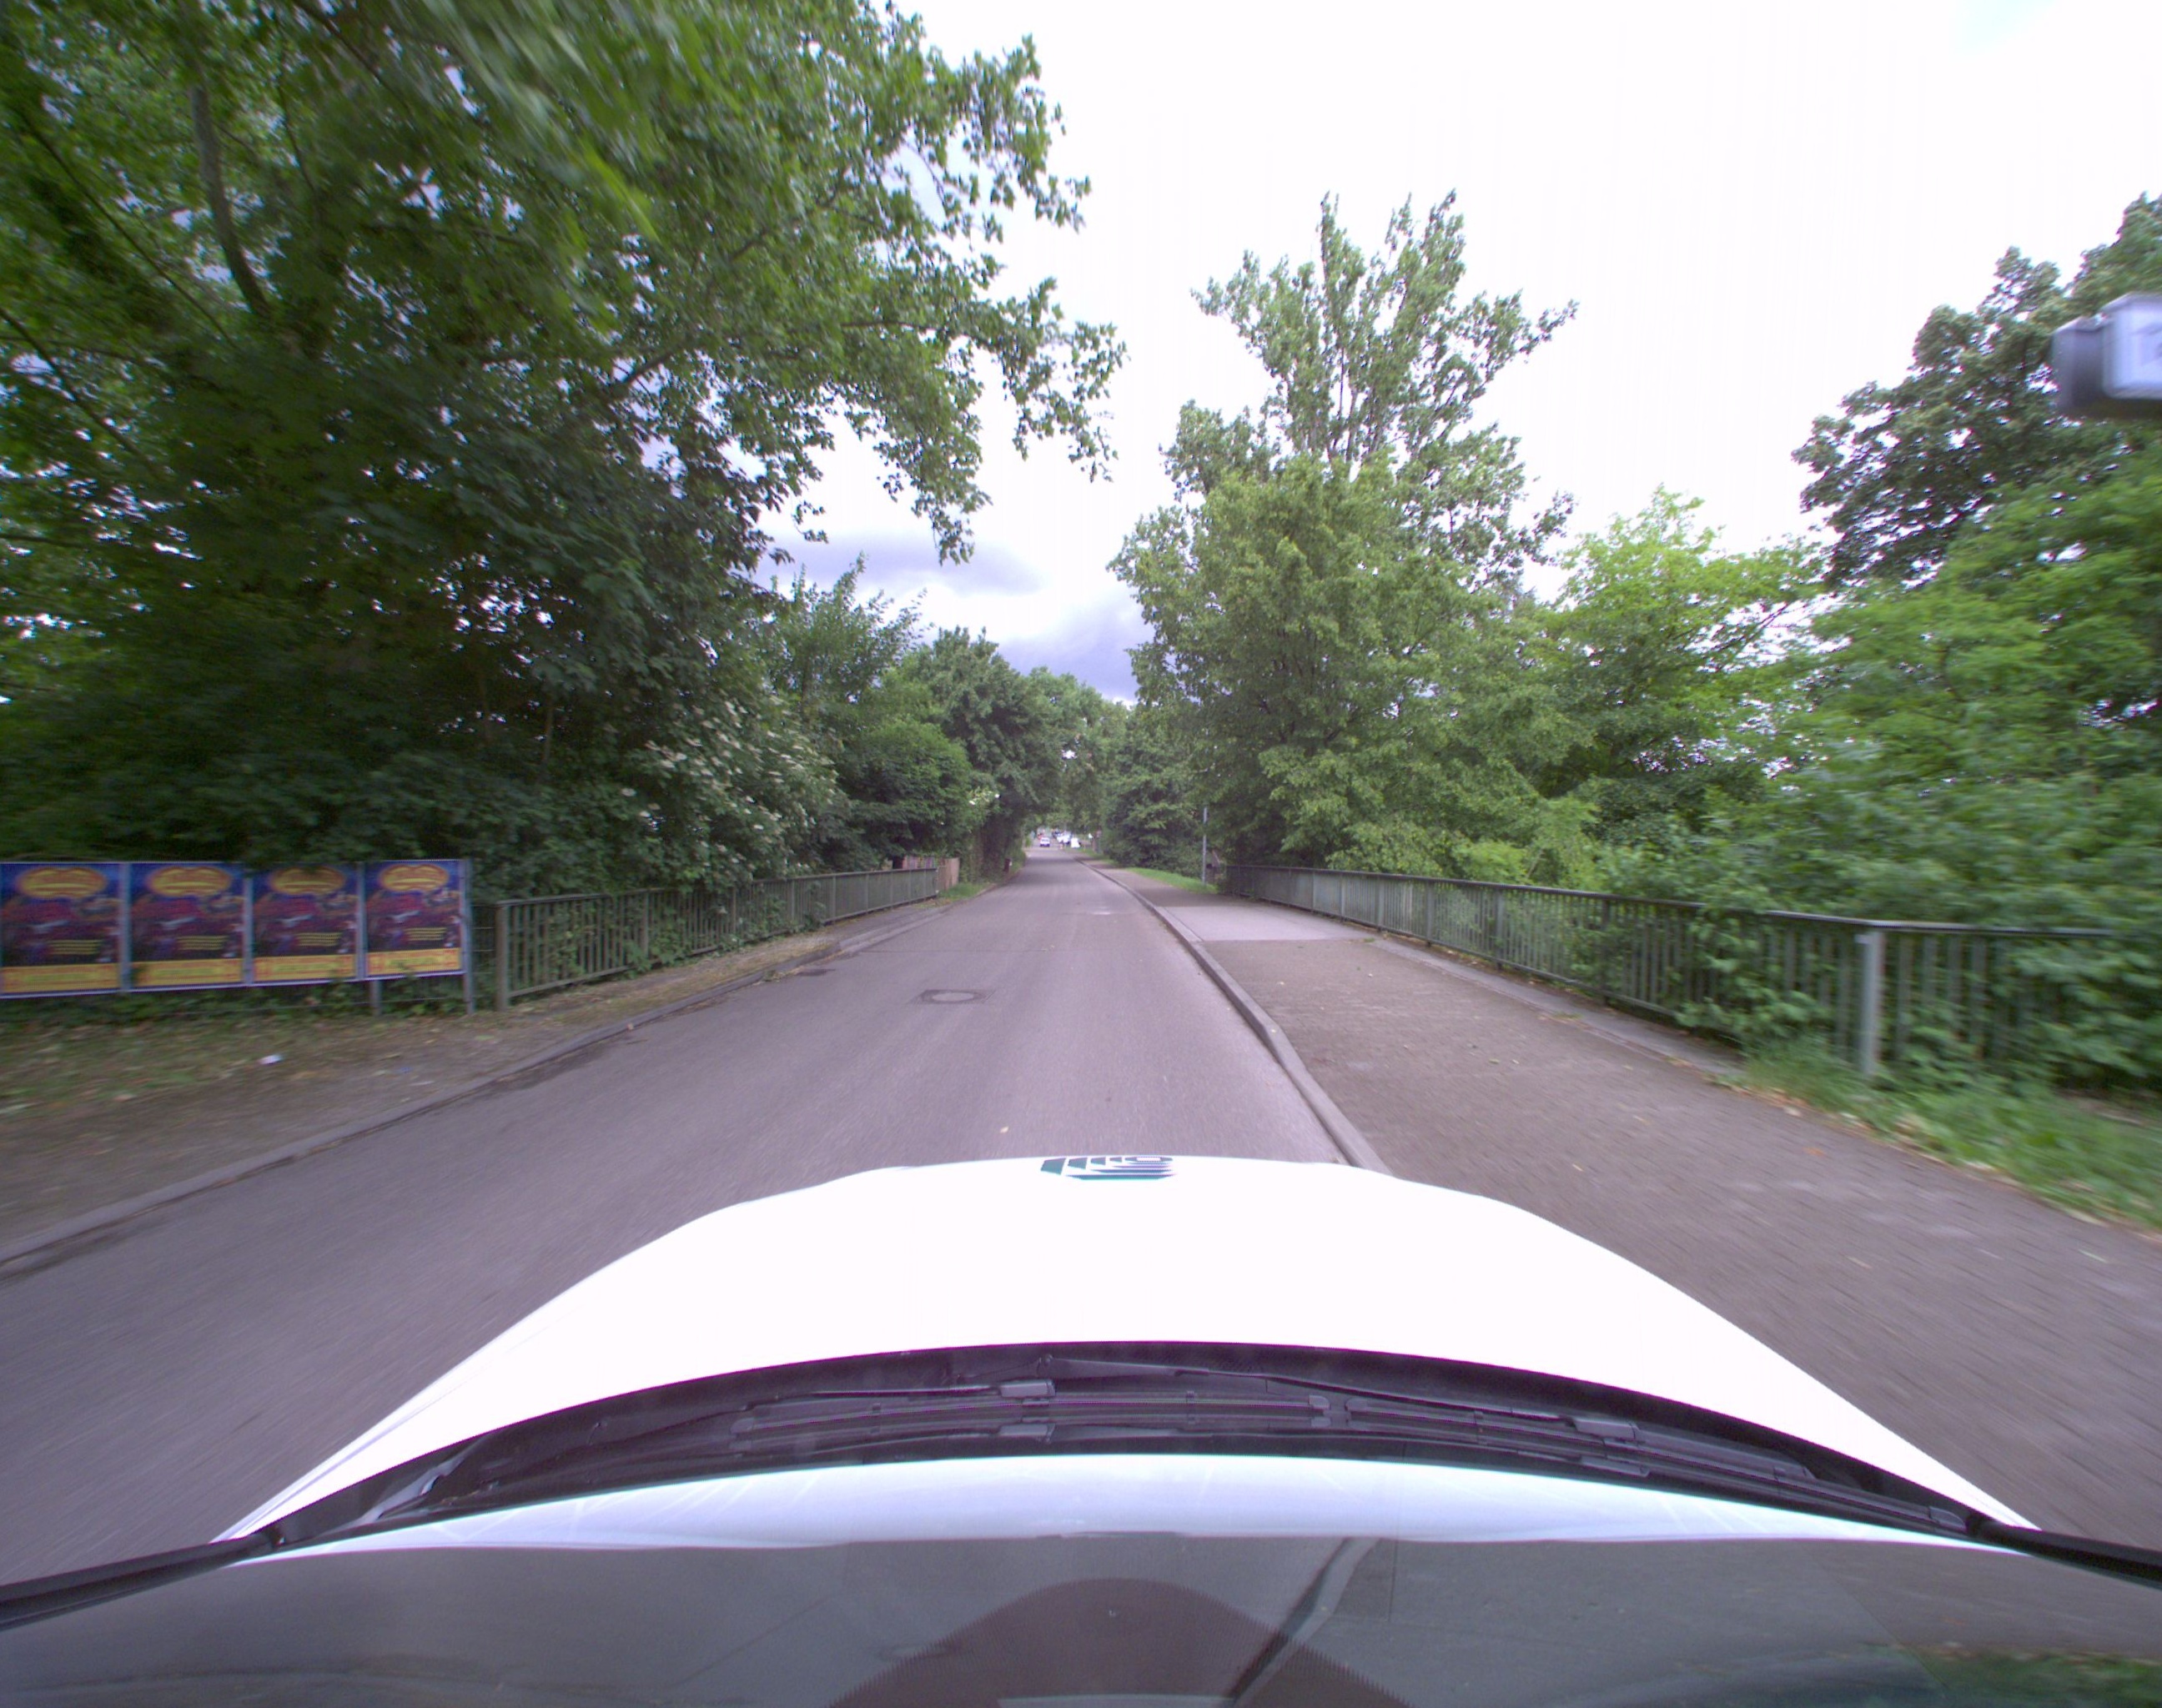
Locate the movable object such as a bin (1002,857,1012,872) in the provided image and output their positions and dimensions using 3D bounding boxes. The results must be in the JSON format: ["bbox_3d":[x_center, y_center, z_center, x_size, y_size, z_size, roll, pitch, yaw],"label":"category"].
[{"bbox_3d":[-4.677,0.678,51.695,0.588,0.957,0.469,1,-1,-2],"label":"movable object such as a bin"}]

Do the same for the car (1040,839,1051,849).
[{"bbox_3d":[-6.952,-1.913,159.286,1.988,1.772,3.997,1,-1,-1],"label":"car"}]
